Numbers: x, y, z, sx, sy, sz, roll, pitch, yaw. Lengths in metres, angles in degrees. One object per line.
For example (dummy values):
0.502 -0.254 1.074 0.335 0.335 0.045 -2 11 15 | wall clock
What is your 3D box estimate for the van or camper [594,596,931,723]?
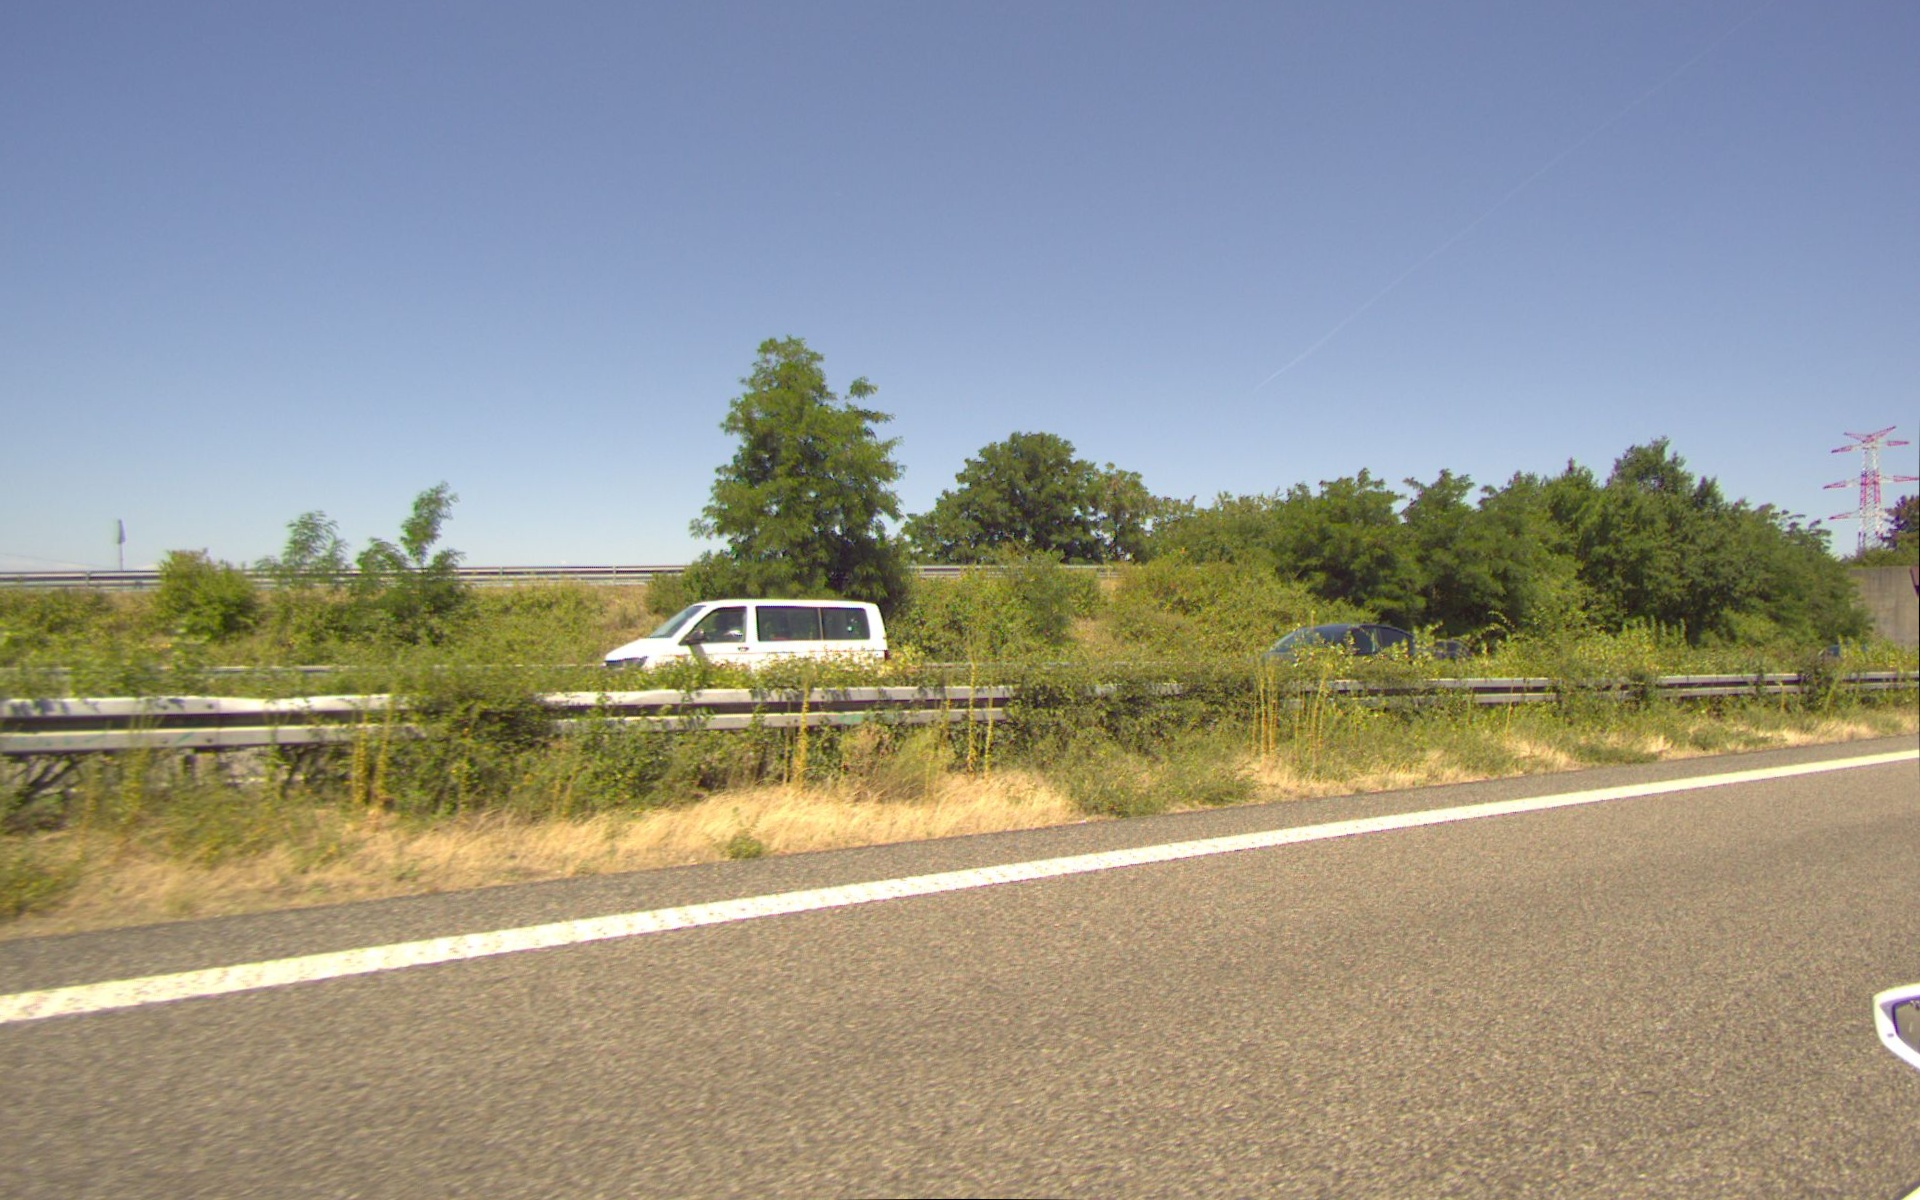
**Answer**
-3.290 0.985 17.112 5.248 1.880 2.116 2 -3 -30 | van or camper
